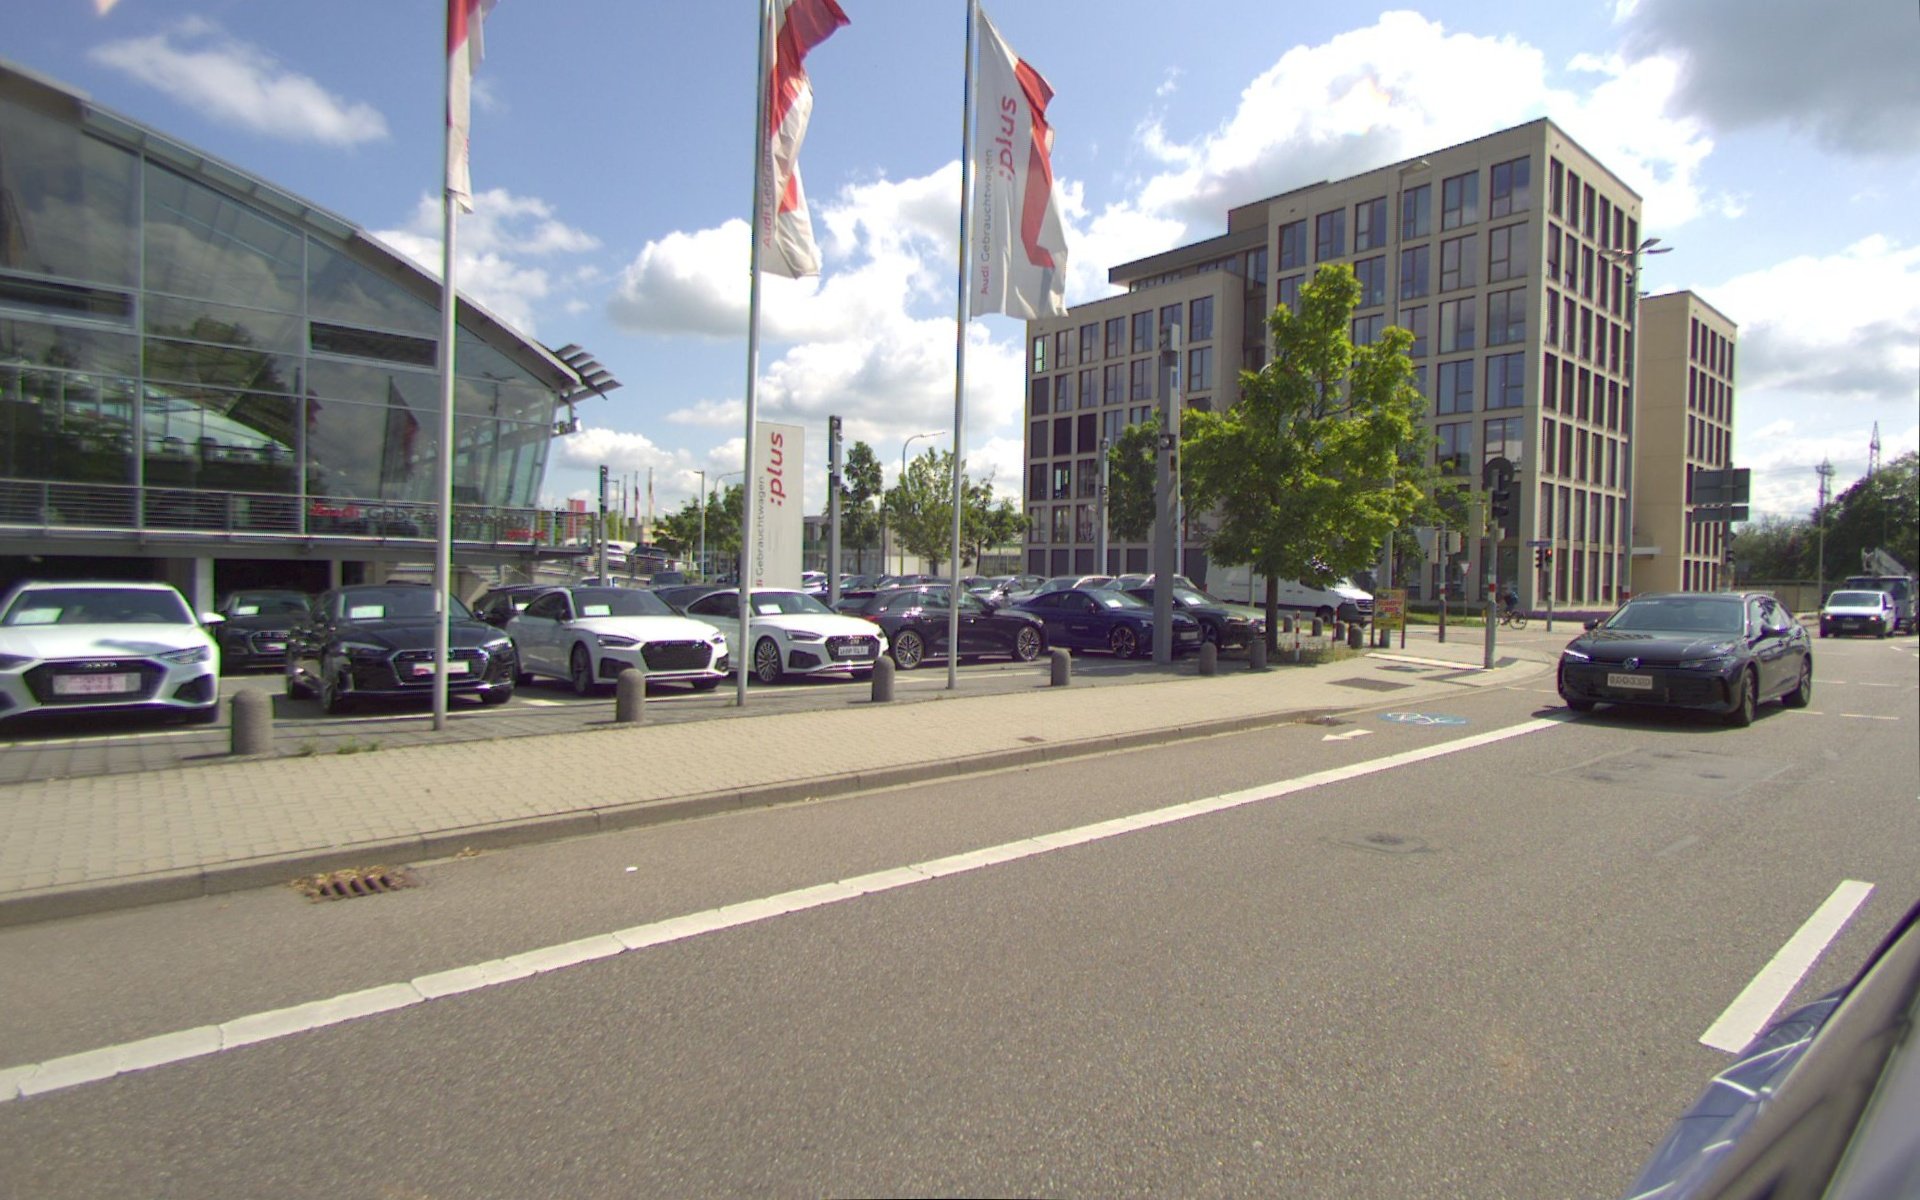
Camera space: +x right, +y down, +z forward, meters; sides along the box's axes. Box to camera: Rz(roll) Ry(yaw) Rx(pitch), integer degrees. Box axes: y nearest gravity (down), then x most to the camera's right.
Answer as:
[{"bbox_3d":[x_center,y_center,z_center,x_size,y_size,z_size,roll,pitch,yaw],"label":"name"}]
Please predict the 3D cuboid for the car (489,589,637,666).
[{"bbox_3d":[-9.238,0.542,23.368,1.874,1.517,4.355,-1,2,-40],"label":"car"}]

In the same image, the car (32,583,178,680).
[{"bbox_3d":[-15.795,0.472,18.751,1.874,1.517,4.355,-1,2,-40],"label":"car"}]

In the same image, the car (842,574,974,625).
[{"bbox_3d":[-1.848,0.007,36.635,4.507,1.699,1.905,2,-1,-39],"label":"car"}]

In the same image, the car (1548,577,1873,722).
[{"bbox_3d":[9.560,0.526,12.724,5.105,1.496,1.814,1,0,-36],"label":"car"}]

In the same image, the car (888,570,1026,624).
[{"bbox_3d":[-0.057,-0.082,34.527,4.507,1.699,1.905,2,-1,-39],"label":"car"}]

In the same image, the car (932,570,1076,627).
[{"bbox_3d":[1.461,-0.016,32.556,4.507,1.699,1.905,2,-1,-39],"label":"car"}]

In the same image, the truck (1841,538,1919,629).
[{"bbox_3d":[40.894,-0.566,44.263,9.618,3.600,2.669,2,-1,-43],"label":"truck"}]

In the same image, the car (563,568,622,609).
[{"bbox_3d":[-16.627,-0.493,45.945,1.867,1.699,4.598,2,0,-12],"label":"car"}]

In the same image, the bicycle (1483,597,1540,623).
[{"bbox_3d":[22.963,0.416,42.178,0.638,1.024,1.975,2,-1,-41],"label":"bicycle"}]

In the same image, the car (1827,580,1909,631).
[{"bbox_3d":[35.273,0.247,39.267,4.908,1.861,1.995,2,-1,-44],"label":"car"}]

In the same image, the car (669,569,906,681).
[{"bbox_3d":[-2.747,0.374,15.467,1.764,1.483,3.993,0,-1,-40],"label":"car"}]

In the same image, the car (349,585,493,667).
[{"bbox_3d":[-11.696,0.469,21.835,1.874,1.517,4.355,-1,2,-40],"label":"car"}]

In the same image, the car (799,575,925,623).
[{"bbox_3d":[-3.719,-0.018,38.767,4.507,1.699,1.905,2,-1,-39],"label":"car"}]

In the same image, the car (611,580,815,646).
[{"bbox_3d":[-6.245,0.312,25.860,4.671,1.530,1.982,-1,-1,-40],"label":"car"}]

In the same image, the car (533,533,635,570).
[{"bbox_3d":[-25.642,-3.271,69.217,6.296,2.129,1.762,2,-1,-41],"label":"car"}]

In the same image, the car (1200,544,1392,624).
[{"bbox_3d":[12.185,-0.558,37.298,2.098,2.640,6.866,2,0,-33],"label":"car"}]

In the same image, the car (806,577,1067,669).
[{"bbox_3d":[-0.336,0.374,18.548,4.671,1.483,1.793,-1,-1,-40],"label":"car"}]

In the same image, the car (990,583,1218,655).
[{"bbox_3d":[2.855,0.341,20.922,1.873,1.314,4.583,2,0,-40],"label":"car"}]

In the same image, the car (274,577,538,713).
[{"bbox_3d":[-6.787,0.426,12.130,1.873,1.314,4.583,2,0,-40],"label":"car"}]

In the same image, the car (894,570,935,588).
[{"bbox_3d":[-4.416,-2.048,98.254,1.965,1.705,3.994,2,-1,-41],"label":"car"}]

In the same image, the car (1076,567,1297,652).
[{"bbox_3d":[4.906,0.176,22.482,1.873,1.699,4.583,2,-1,-40],"label":"car"}]

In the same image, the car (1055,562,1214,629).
[{"bbox_3d":[4.931,-0.085,28.287,4.507,1.699,1.905,2,-1,-39],"label":"car"}]

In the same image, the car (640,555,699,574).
[{"bbox_3d":[-34.601,-4.208,120.822,6.245,2.039,2.571,2,-1,-38],"label":"car"}]

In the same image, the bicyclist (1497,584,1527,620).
[{"bbox_3d":[22.987,0.074,42.149,0.627,1.496,0.914,2,-1,-42],"label":"bicyclist"}]

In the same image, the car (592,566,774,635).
[{"bbox_3d":[-7.682,0.046,28.345,4.475,1.762,1.996,2,-1,-43],"label":"car"}]

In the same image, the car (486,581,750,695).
[{"bbox_3d":[-4.861,0.427,13.961,1.873,1.314,4.583,2,0,-40],"label":"car"}]

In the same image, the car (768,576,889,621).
[{"bbox_3d":[-5.261,-0.041,40.790,4.507,1.699,1.905,2,-1,-39],"label":"car"}]

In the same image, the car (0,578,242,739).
[{"bbox_3d":[-8.793,0.460,10.420,1.873,1.314,4.583,2,0,-40],"label":"car"}]

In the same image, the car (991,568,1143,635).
[{"bbox_3d":[3.281,-0.009,30.543,4.510,1.698,1.905,-4,3,-39],"label":"car"}]

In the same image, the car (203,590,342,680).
[{"bbox_3d":[-13.934,0.604,20.416,1.874,1.517,4.355,-1,2,-40],"label":"car"}]

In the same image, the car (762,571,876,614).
[{"bbox_3d":[-6.002,-0.310,43.332,4.507,1.699,1.905,2,-1,-39],"label":"car"}]
